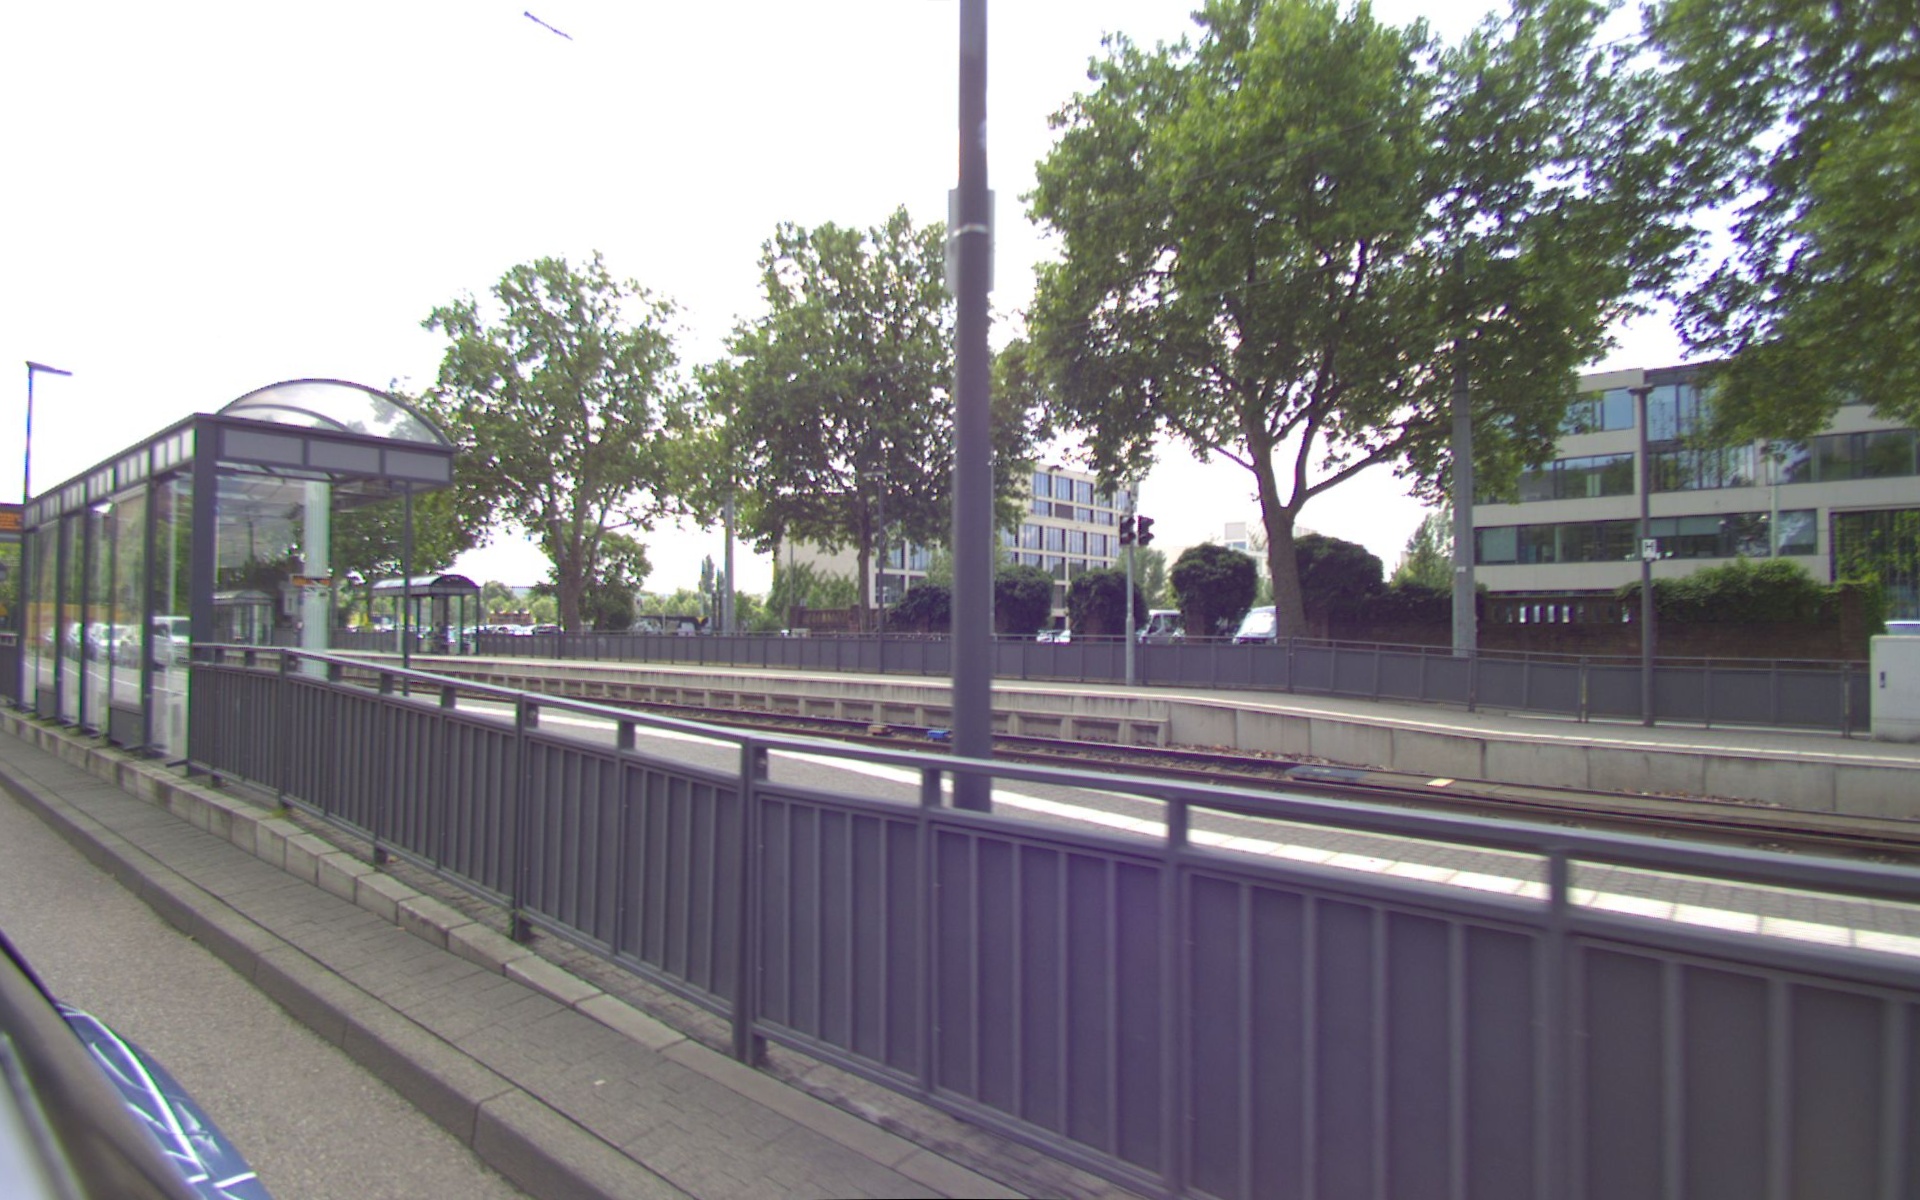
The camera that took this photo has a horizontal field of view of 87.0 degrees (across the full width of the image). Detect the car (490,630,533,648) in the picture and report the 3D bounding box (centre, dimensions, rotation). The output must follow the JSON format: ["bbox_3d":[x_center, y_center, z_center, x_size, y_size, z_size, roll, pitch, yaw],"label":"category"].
[{"bbox_3d":[-37.985,3.309,85.635,3.997,1.487,1.779,-2,-3,40],"label":"car"}]

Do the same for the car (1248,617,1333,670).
[{"bbox_3d":[13.628,1.804,41.659,1.958,2.049,4.095,-1,-4,40],"label":"car"}]

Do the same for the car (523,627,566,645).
[{"bbox_3d":[-36.038,3.145,87.804,3.997,1.487,1.779,-2,-3,40],"label":"car"}]

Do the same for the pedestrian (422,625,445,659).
[{"bbox_3d":[-19.800,1.579,38.057,0.767,1.279,0.547,-2,-3,42],"label":"pedestrian"}]

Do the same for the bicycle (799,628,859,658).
[{"bbox_3d":[-6.058,1.979,46.967,0.634,1.176,3.004,-2,1,45],"label":"bicycle"}]

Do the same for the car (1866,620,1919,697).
[{"bbox_3d":[26.587,1.635,28.090,1.935,2.004,4.776,-1,-4,40],"label":"car"}]

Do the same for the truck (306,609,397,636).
[{"bbox_3d":[-101.343,3.849,168.844,2.747,4.105,12.651,-1,-4,42],"label":"truck"}]

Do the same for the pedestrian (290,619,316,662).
[{"bbox_3d":[-28.909,1.785,44.537,0.863,1.859,0.699,-1,-2,38],"label":"pedestrian"}]
